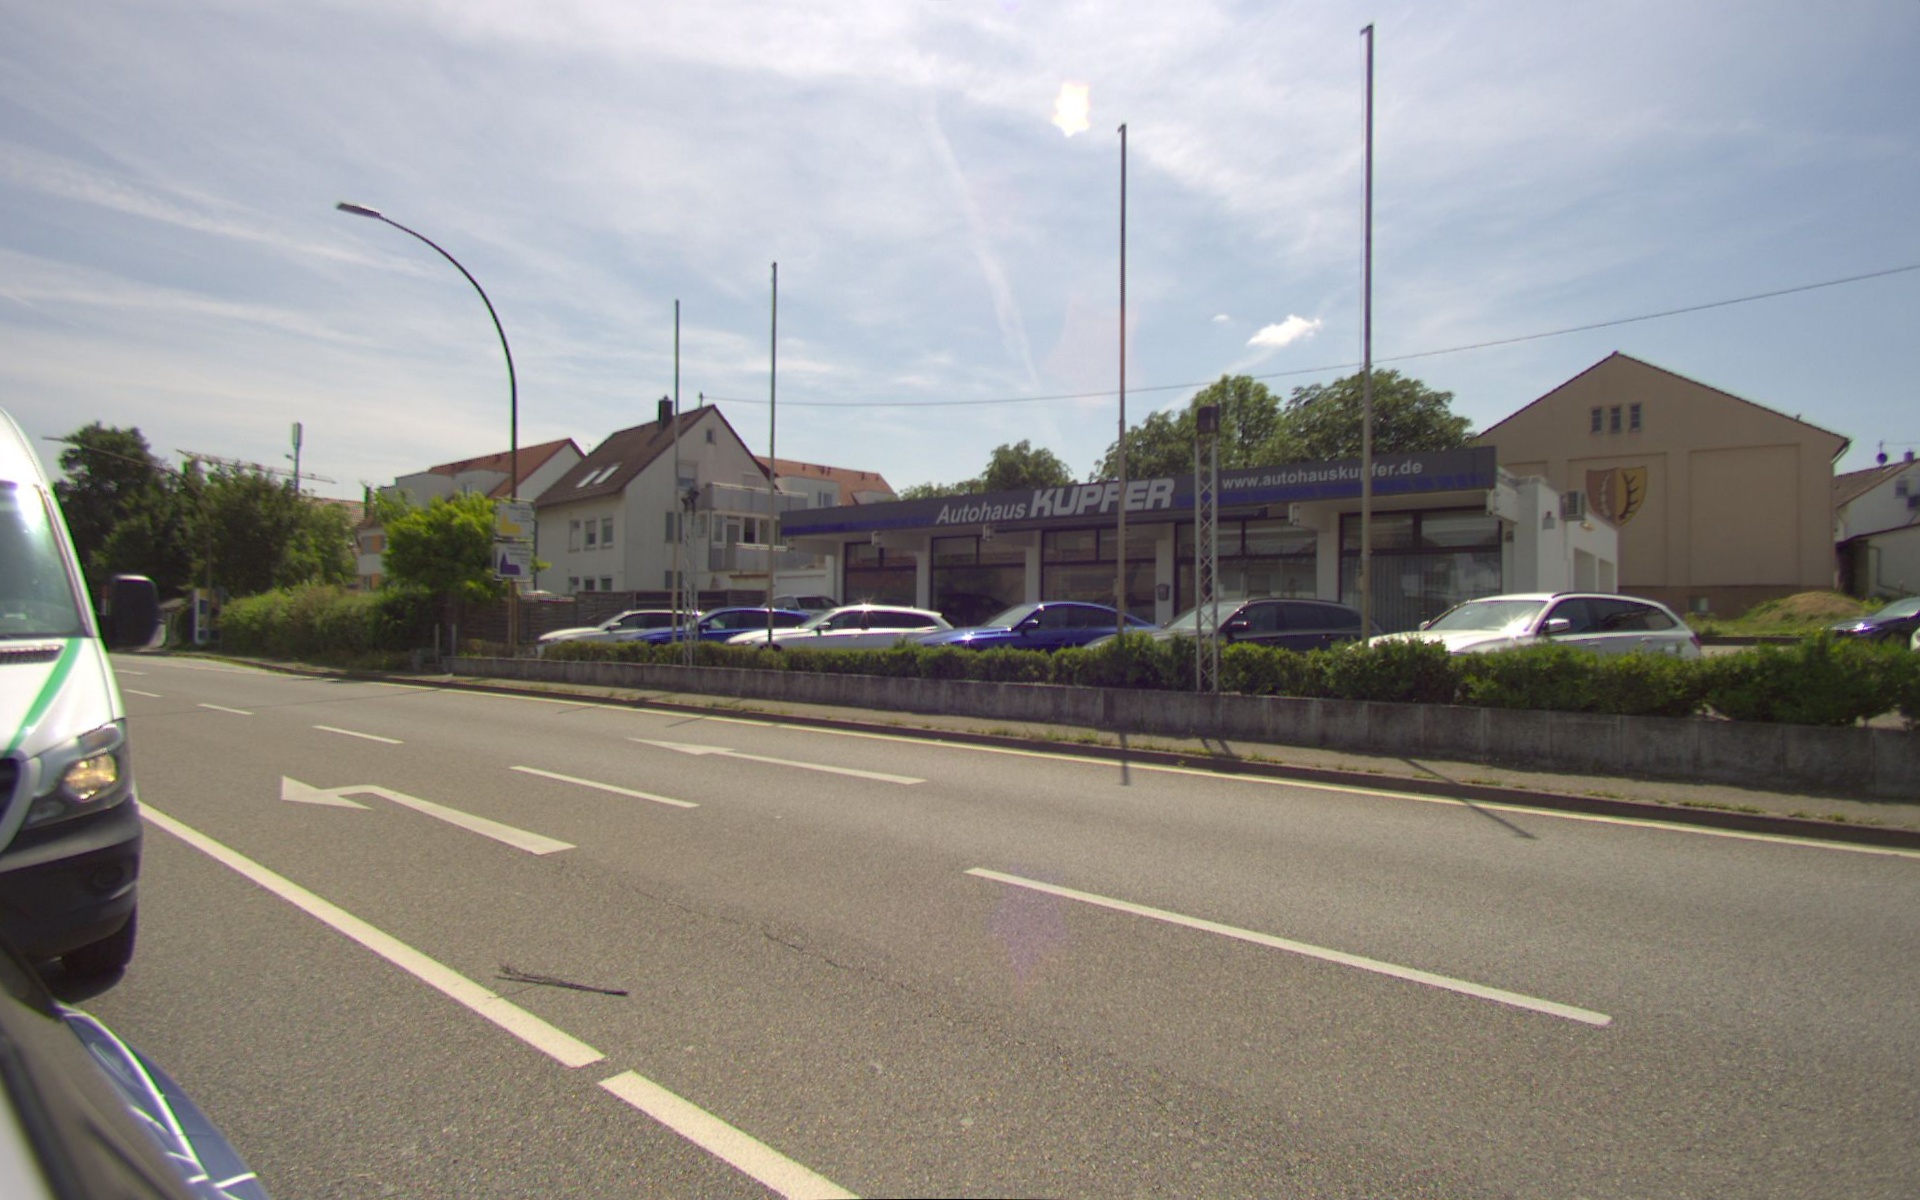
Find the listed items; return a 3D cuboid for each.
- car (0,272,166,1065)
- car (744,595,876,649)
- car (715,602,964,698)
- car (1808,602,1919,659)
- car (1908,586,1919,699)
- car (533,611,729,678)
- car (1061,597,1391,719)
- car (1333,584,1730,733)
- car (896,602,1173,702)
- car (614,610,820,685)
[{"bbox_3d":[-5.606,0.263,4.714,5.745,2.548,1.914,-1,-1,40],"label":"car"},{"bbox_3d":[-4.596,0.650,30.413,1.781,1.475,4.589,-1,0,-40],"label":"car"},{"bbox_3d":[-2.365,0.893,19.674,4.438,1.458,1.863,-3,1,-19],"label":"car"},{"bbox_3d":[23.489,0.692,24.718,3.946,1.231,1.791,-2,0,2],"label":"car"},{"bbox_3d":[14.982,0.529,14.126,3.934,1.521,1.839,-1,-1,-36],"label":"car"},{"bbox_3d":[-8.213,1.057,25.369,4.501,1.458,1.863,-1,0,-21],"label":"car"},{"bbox_3d":[3.771,0.717,14.337,4.267,1.458,1.905,-1,0,-24],"label":"car"},{"bbox_3d":[6.675,0.567,11.812,4.267,1.458,1.863,-1,0,-24],"label":"car"},{"bbox_3d":[1.251,0.795,17.060,4.267,1.458,1.863,-1,0,-23],"label":"car"},{"bbox_3d":[-5.458,0.997,22.636,4.267,1.458,1.863,-1,0,-21],"label":"car"}]
